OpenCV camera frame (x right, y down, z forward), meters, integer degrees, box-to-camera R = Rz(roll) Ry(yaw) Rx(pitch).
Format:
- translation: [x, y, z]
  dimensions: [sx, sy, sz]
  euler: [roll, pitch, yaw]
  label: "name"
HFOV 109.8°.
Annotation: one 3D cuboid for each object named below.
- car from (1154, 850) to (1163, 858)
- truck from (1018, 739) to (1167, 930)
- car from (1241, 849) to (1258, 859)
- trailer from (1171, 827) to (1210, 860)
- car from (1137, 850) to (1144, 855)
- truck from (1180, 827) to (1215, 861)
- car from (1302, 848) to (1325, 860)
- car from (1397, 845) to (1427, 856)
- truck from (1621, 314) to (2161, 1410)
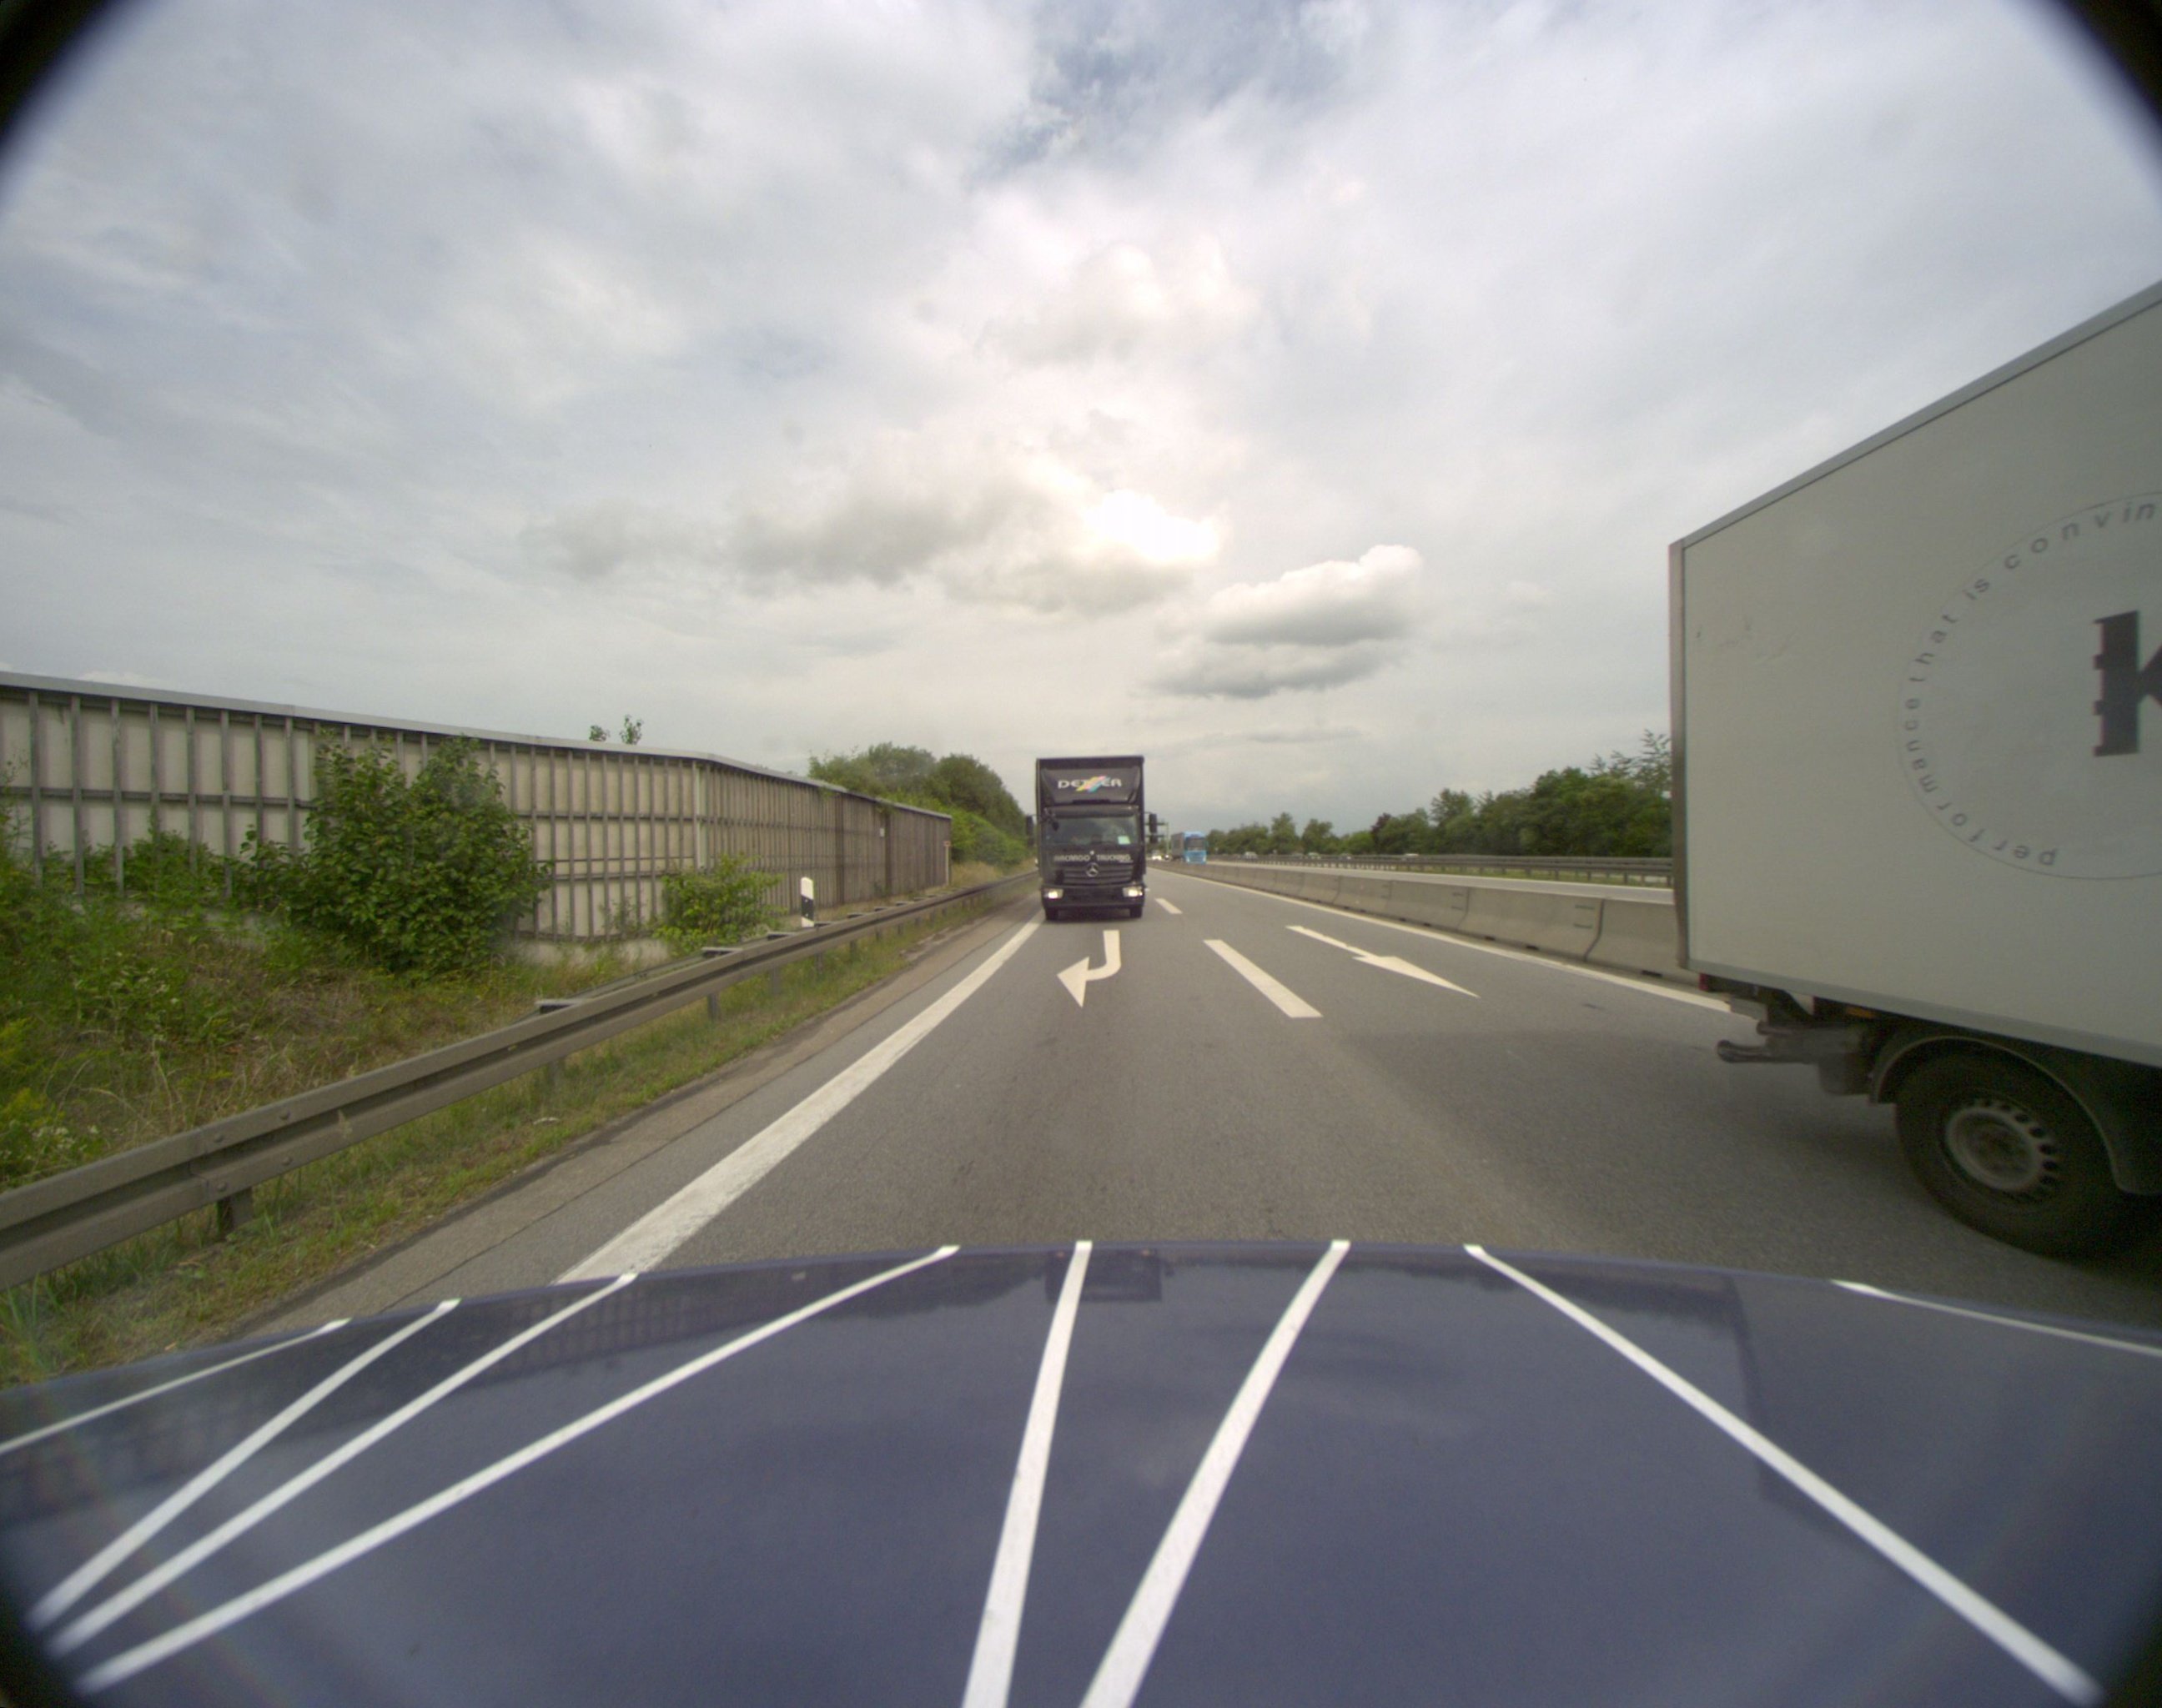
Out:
- translation: [14.568, -0.017, 142.312]
  dimensions: [1.684, 1.476, 3.776]
  euler: [-2, 0, 6]
  label: "car"
- translation: [0.215, -0.441, 21.147]
  dimensions: [3.024, 3.931, 10.339]
  euler: [-2, 0, 0]
  label: "truck"
- translation: [26.484, -0.060, 119.474]
  dimensions: [1.691, 1.460, 4.004]
  euler: [-2, 0, 0]
  label: "car"
- translation: [13.969, -1.298, 97.786]
  dimensions: [3.244, 3.902, 12.379]
  euler: [-2, 1, 1]
  label: "trailer"
- translation: [16.960, -0.515, 217.170]
  dimensions: [1.757, 1.361, 4.205]
  euler: [-1, 1, -1]
  label: "car"
- translation: [13.883, -1.207, 91.324]
  dimensions: [3.255, 3.889, 6.609]
  euler: [-2, 1, 1]
  label: "truck"
- translation: [30.083, 0.013, 98.518]
  dimensions: [1.691, 1.460, 4.004]
  euler: [-2, 0, 0]
  label: "car"
- translation: [37.690, -0.441, 86.657]
  dimensions: [1.691, 1.185, 4.004]
  euler: [-1, 0, 0]
  label: "car"
- translation: [4.217, 0.017, 1.069]
  dimensions: [2.410, 3.072, 6.370]
  euler: [-2, 0, 1]
  label: "truck"
